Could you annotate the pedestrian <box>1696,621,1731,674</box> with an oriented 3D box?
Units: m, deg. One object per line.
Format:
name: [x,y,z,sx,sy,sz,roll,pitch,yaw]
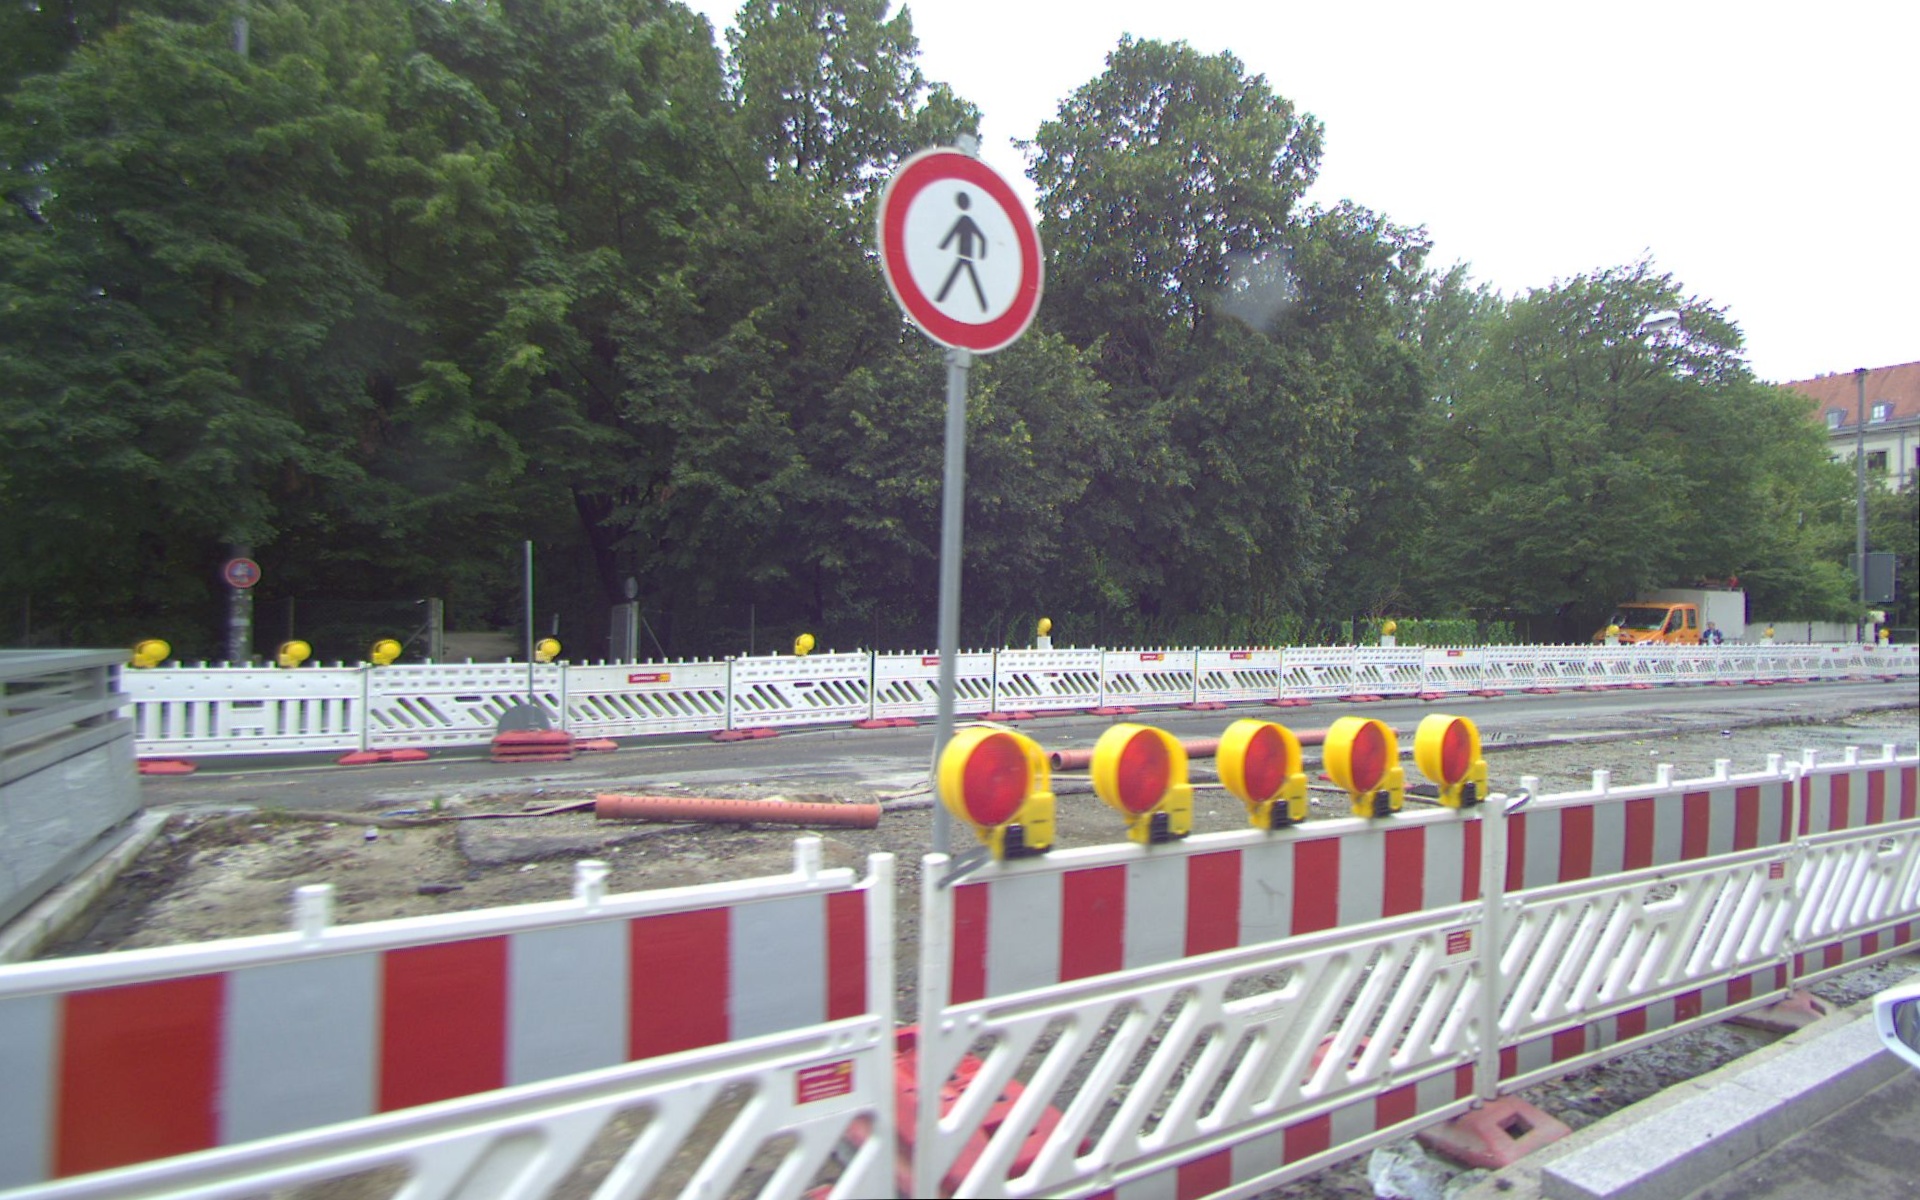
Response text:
pedestrian: [23.624,1.490,31.504,0.689,1.624,0.660,1,0,-29]

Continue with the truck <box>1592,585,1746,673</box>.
truck: [23.751,0.955,33.565,5.800,2.765,1.984,1,-1,-30]
